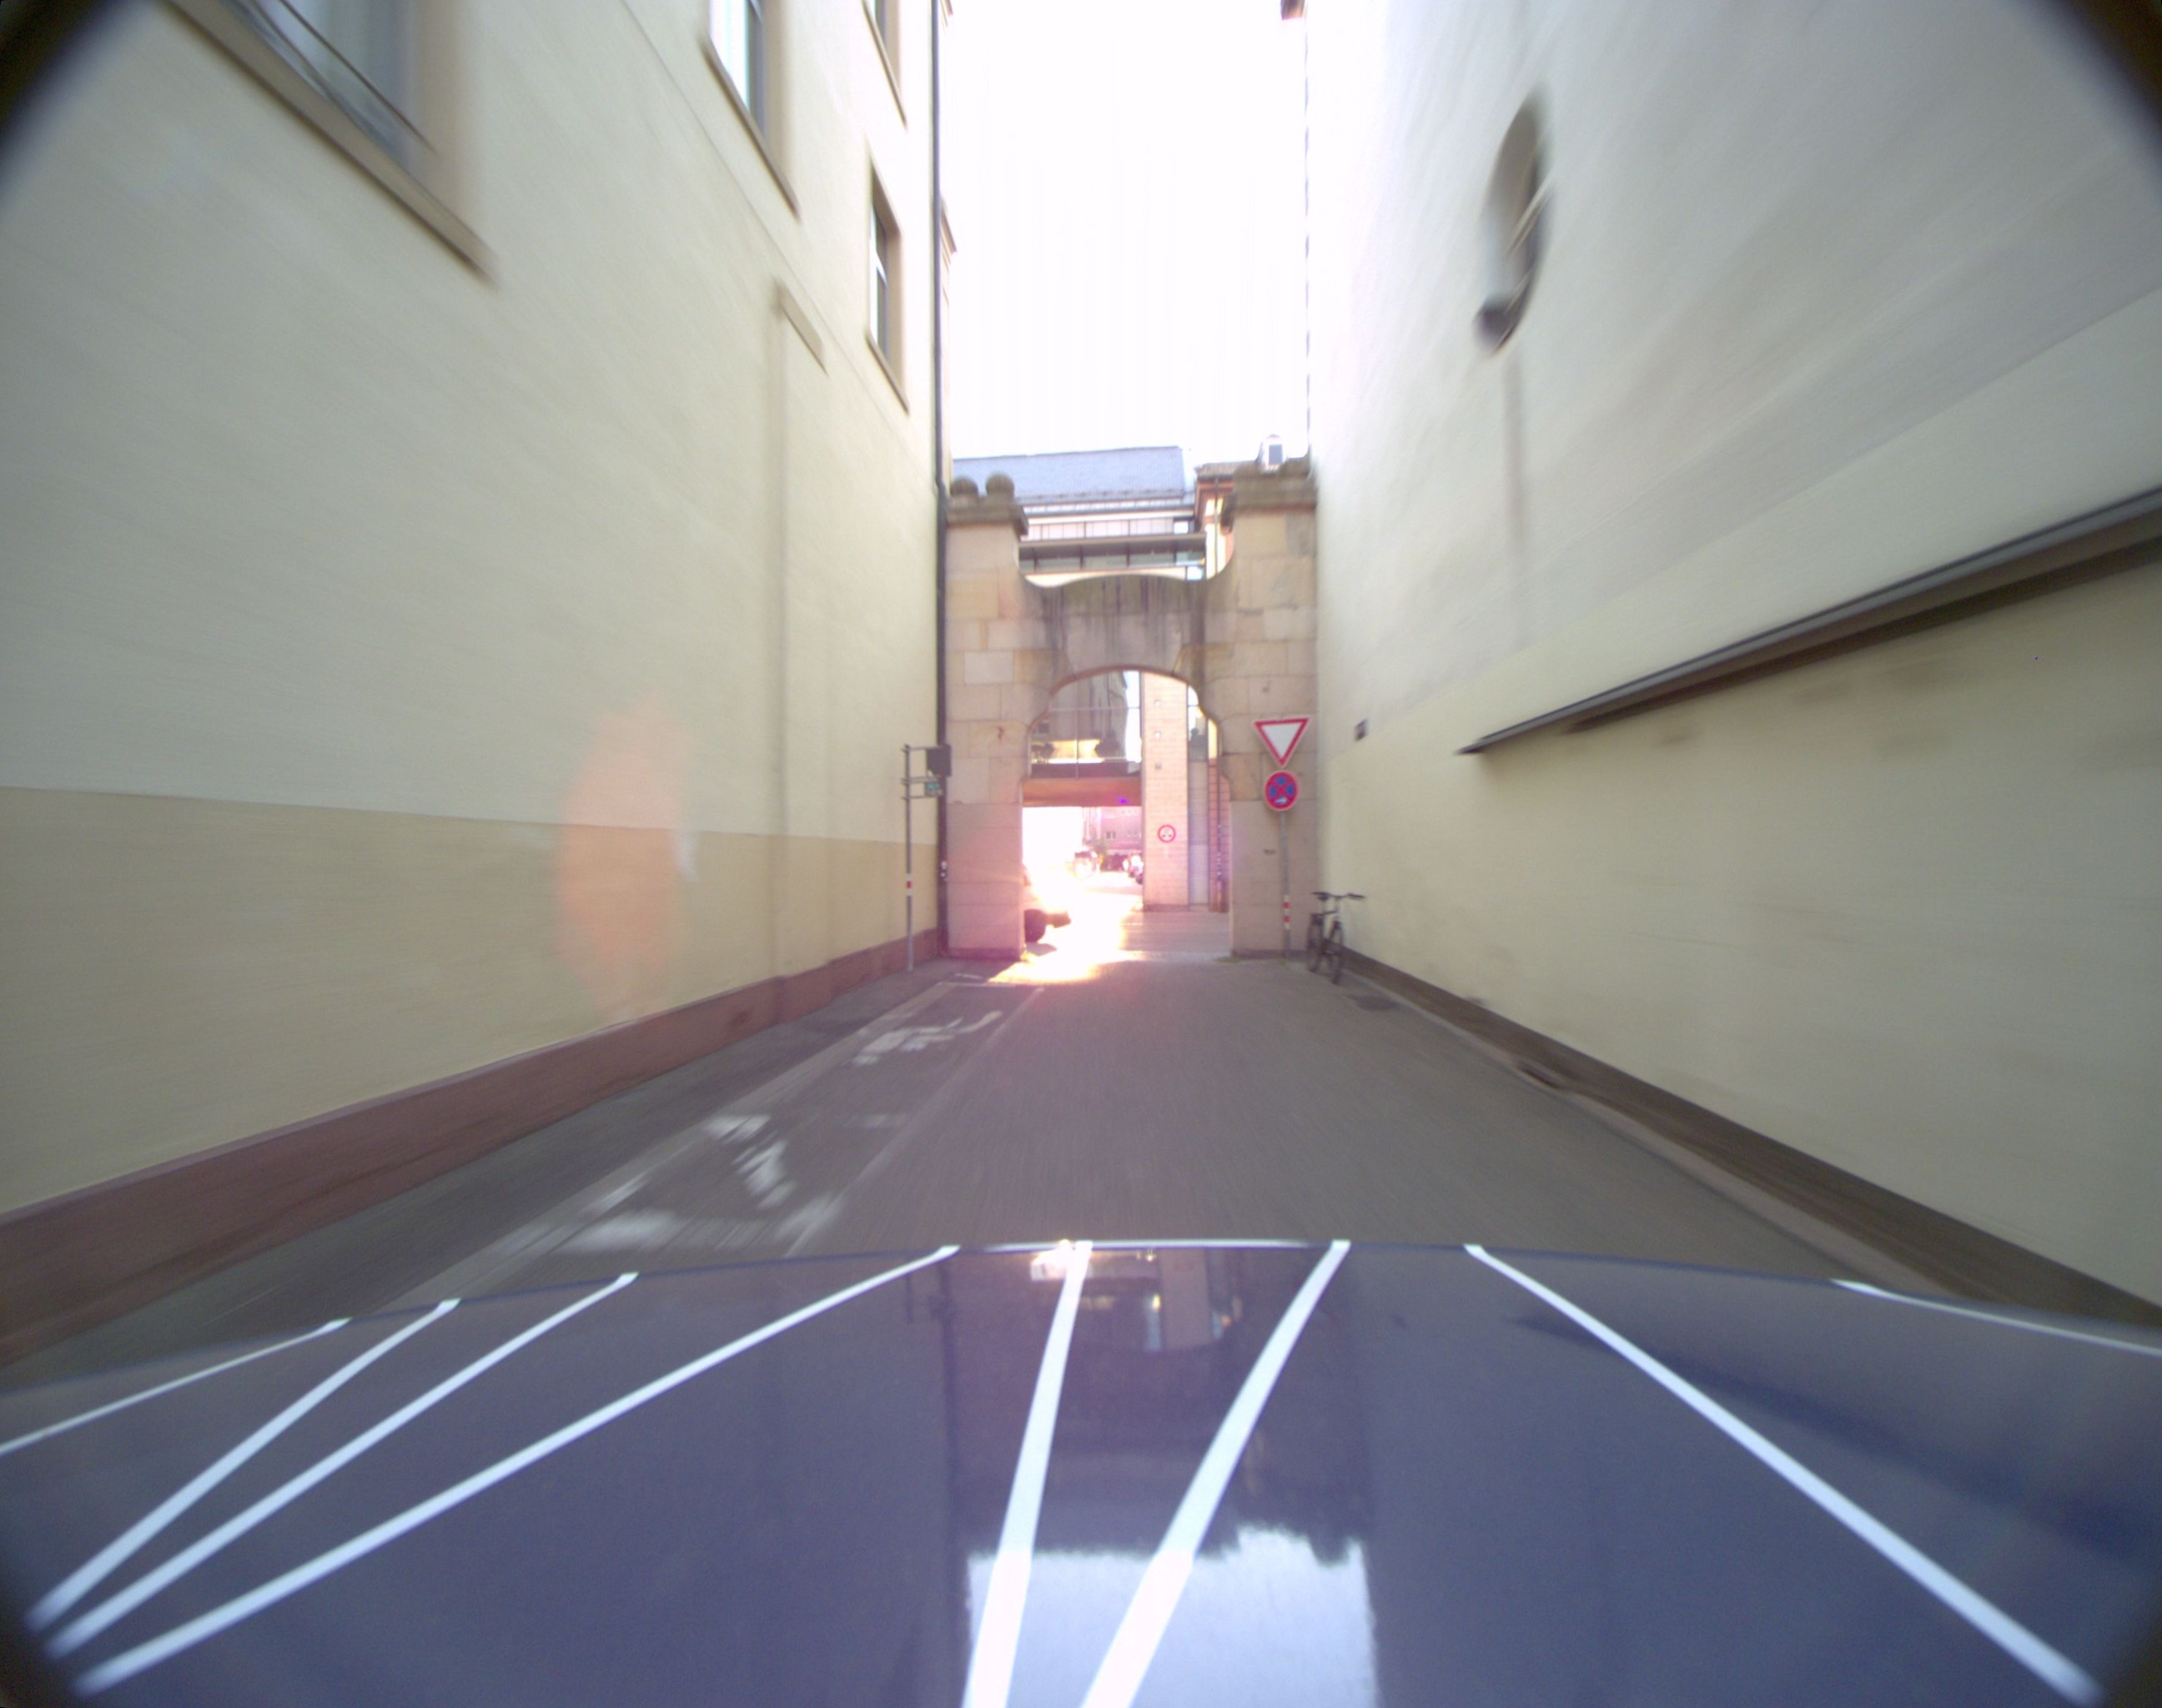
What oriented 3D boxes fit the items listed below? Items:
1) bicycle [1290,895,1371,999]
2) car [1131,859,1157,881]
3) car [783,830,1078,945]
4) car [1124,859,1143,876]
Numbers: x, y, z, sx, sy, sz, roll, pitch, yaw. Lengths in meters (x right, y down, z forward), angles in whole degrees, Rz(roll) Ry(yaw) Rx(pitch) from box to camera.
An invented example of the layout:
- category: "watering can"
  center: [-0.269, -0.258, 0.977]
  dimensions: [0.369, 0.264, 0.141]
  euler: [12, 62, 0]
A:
- category: "bicycle"
  center: [3.067, 1.101, 9.492]
  dimensions: [0.596, 1.073, 1.756]
  euler: [0, 0, 6]
- category: "car"
  center: [4.615, 1.156, 55.995]
  dimensions: [1.601, 1.484, 3.444]
  euler: [0, 1, -1]
- category: "car"
  center: [-3.374, 0.703, 17.840]
  dimensions: [6.463, 2.498, 2.002]
  euler: [0, 2, 3]
- category: "car"
  center: [5.128, 1.306, 74.566]
  dimensions: [1.601, 1.484, 3.444]
  euler: [0, 1, -1]
